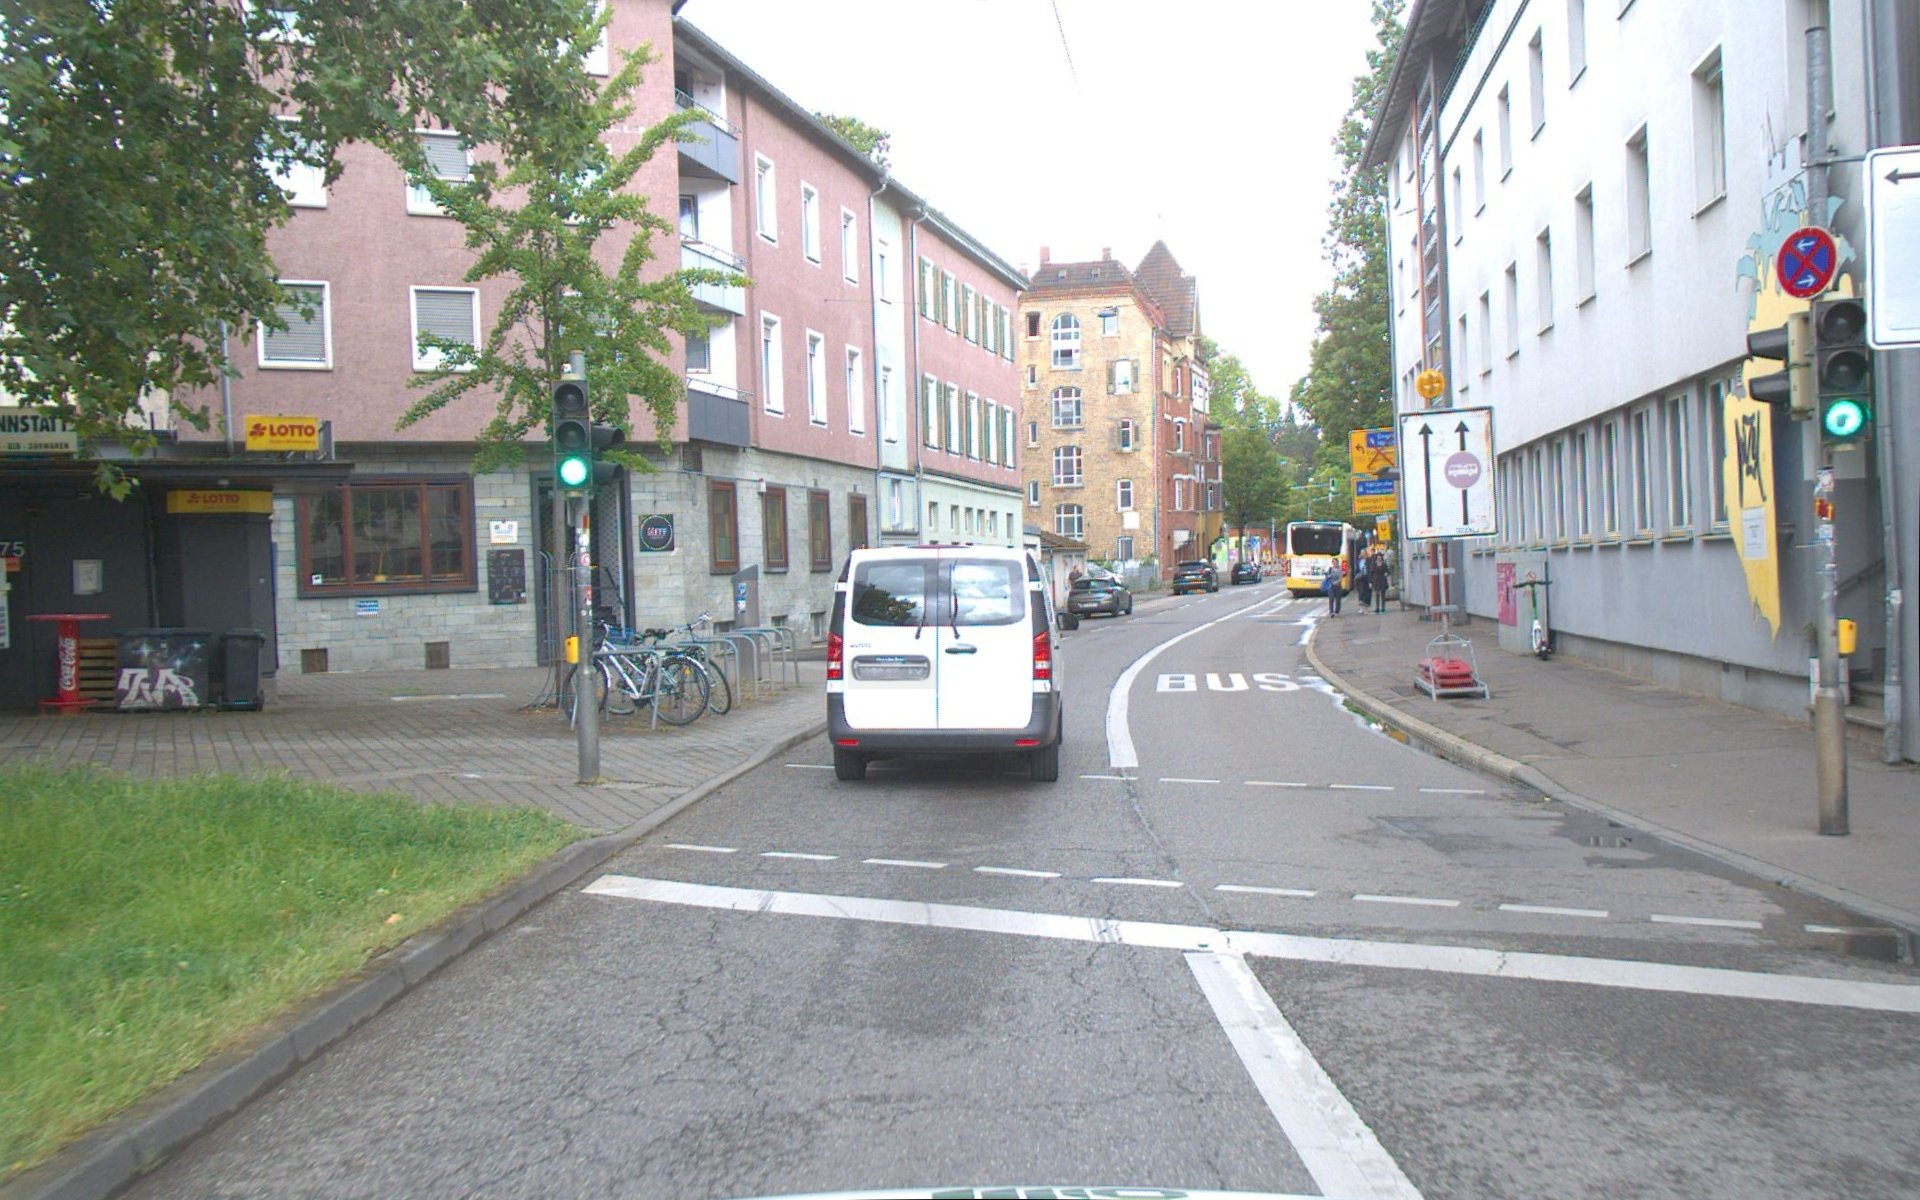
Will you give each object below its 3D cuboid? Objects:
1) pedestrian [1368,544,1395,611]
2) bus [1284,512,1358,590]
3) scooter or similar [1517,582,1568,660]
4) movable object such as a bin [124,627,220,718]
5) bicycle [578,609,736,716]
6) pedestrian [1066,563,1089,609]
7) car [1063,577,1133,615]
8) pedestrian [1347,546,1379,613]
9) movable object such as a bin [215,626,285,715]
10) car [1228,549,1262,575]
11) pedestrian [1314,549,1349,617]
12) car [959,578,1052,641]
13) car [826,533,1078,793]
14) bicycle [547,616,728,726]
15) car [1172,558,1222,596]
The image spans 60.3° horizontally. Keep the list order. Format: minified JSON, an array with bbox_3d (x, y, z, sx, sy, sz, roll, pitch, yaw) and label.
[{"bbox_3d":[11.507,-0.617,45.144,0.531,1.787,0.608,-4,1,23],"label":"pedestrian"},{"bbox_3d":[15.949,-2.144,72.647,2.606,3.190,10.048,0,2,16],"label":"bus"},{"bbox_3d":[8.885,0.305,25.259,0.419,1.116,1.440,-4,1,9],"label":"scooter or similar"},{"bbox_3d":[-9.194,0.834,19.282,0.954,0.981,1.103,2,1,-28],"label":"movable object such as a bin"},{"bbox_3d":[-3.502,0.712,19.187,1.768,1.197,0.723,0,0,-10],"label":"bicycle"},{"bbox_3d":[4.542,-0.535,63.981,0.745,1.774,0.985,0,0,13],"label":"pedestrian"},{"bbox_3d":[4.936,-0.127,58.683,1.951,1.312,4.003,0,0,12],"label":"car"},{"bbox_3d":[11.204,-0.575,46.014,0.672,1.787,0.879,-4,1,9],"label":"pedestrian"},{"bbox_3d":[-8.466,0.830,19.699,0.663,0.981,1.069,2,1,-28],"label":"movable object such as a bin"},{"bbox_3d":[19.112,-2.559,110.649,1.688,1.511,4.394,-1,3,17],"label":"car"},{"bbox_3d":[10.443,-0.483,46.565,0.786,1.824,0.943,-4,1,9],"label":"pedestrian"},{"bbox_3d":[1.253,0.214,42.914,1.790,1.480,4.925,-2,0,9],"label":"car"},{"bbox_3d":[0.102,0.478,14.834,1.877,1.935,4.704,1,0,4],"label":"car"},{"bbox_3d":[-3.477,0.750,17.862,1.829,1.133,0.578,0,0,12],"label":"bicycle"},{"bbox_3d":[12.217,-1.218,84.964,1.912,1.764,4.778,-2,2,15],"label":"car"}]
